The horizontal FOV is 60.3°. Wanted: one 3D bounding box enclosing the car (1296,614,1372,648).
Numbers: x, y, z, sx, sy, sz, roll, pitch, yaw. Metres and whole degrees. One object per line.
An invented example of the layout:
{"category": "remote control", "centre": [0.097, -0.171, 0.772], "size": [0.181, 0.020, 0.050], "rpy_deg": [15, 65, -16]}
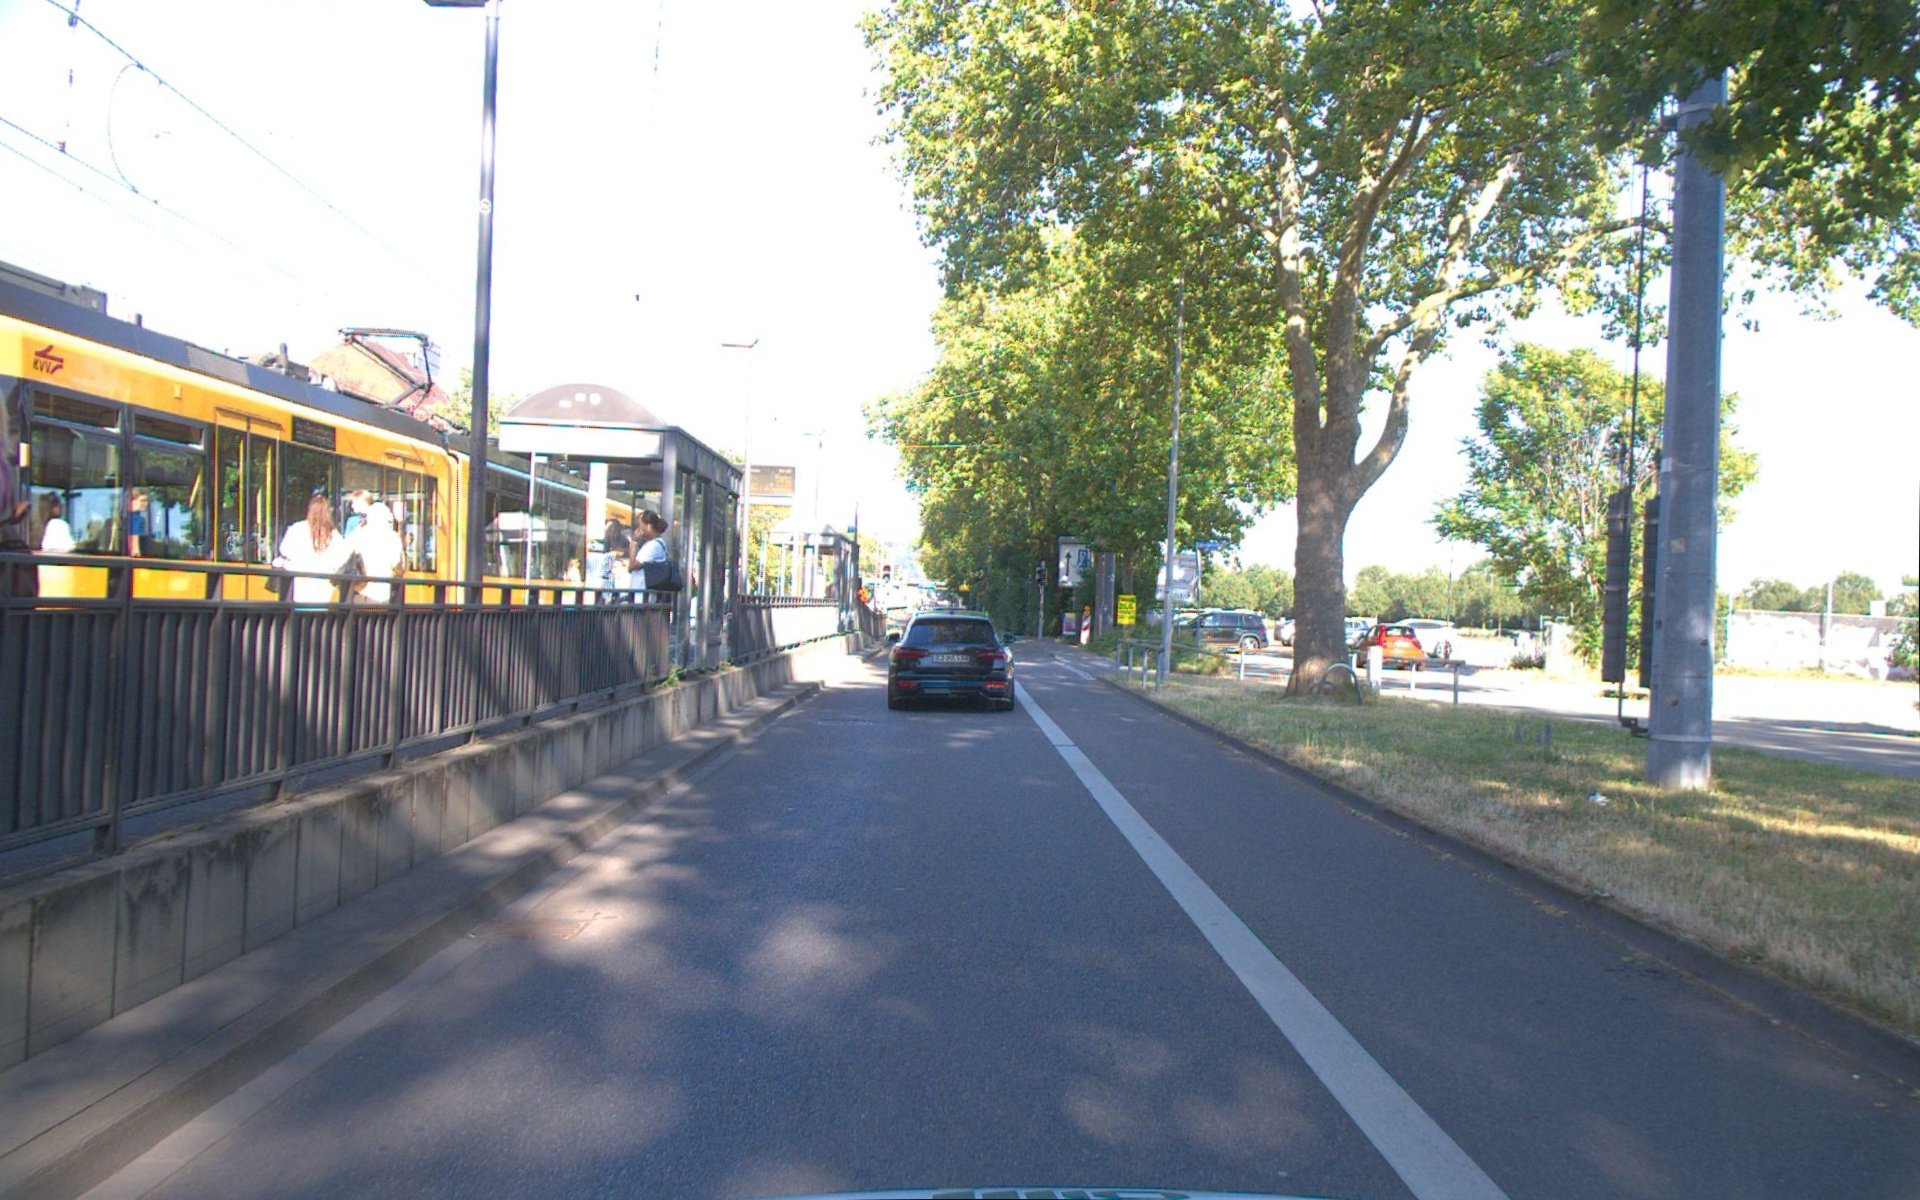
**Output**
{"category": "car", "centre": [20.381, 1.679, 90.209], "size": [3.735, 1.637, 1.670], "rpy_deg": [2, 0, -1]}

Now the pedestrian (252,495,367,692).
{"category": "pedestrian", "centre": [-6.222, -0.059, 15.847], "size": [0.777, 1.815, 0.625], "rpy_deg": [2, 0, -1]}

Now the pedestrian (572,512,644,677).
{"category": "pedestrian", "centre": [-3.987, -0.057, 18.773], "size": [0.597, 1.815, 0.681], "rpy_deg": [2, 0, -1]}

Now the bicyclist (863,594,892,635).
{"category": "bicyclist", "centre": [-3.599, 0.645, 72.009], "size": [0.758, 1.746, 0.903], "rpy_deg": [2, -1, 44]}

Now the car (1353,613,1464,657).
{"category": "car", "centre": [19.857, 1.536, 73.358], "size": [4.365, 1.687, 1.918], "rpy_deg": [2, 0, 3]}

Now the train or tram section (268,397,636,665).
{"category": "train or tram section", "centre": [-8.819, -1.031, 30.873], "size": [3.242, 3.896, 11.840], "rpy_deg": [2, 0, -1]}

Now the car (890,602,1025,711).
{"category": "car", "centre": [-0.109, 0.791, 24.779], "size": [1.841, 1.482, 3.354], "rpy_deg": [1, 0, -3]}

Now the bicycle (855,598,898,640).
{"category": "bicycle", "centre": [-3.634, 0.849, 72.009], "size": [0.581, 1.746, 1.959], "rpy_deg": [2, -1, 44]}

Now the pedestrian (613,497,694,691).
{"category": "pedestrian", "centre": [-2.953, -0.058, 15.992], "size": [0.599, 1.815, 0.613], "rpy_deg": [2, 0, -1]}

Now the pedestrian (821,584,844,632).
{"category": "pedestrian", "centre": [-3.633, 0.226, 47.085], "size": [0.555, 1.315, 0.500], "rpy_deg": [3, 0, -1]}

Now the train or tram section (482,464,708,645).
{"category": "train or tram section", "centre": [-9.034, -1.005, 42.781], "size": [3.242, 3.896, 11.840], "rpy_deg": [2, 0, -1]}

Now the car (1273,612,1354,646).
{"category": "car", "centre": [21.043, 1.731, 98.555], "size": [4.267, 1.847, 1.998], "rpy_deg": [2, 0, -5]}

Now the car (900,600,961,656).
{"category": "car", "centre": [-0.962, 0.851, 52.201], "size": [1.727, 1.647, 3.998], "rpy_deg": [2, 0, -3]}

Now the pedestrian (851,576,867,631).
{"category": "pedestrian", "centre": [-3.263, 0.102, 53.256], "size": [0.403, 1.746, 0.665], "rpy_deg": [2, 0, -1]}

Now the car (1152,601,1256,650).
{"category": "car", "centre": [9.881, 1.044, 67.198], "size": [3.905, 1.795, 1.833], "rpy_deg": [2, -1, 0]}

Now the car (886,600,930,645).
{"category": "car", "centre": [-2.457, 1.044, 79.384], "size": [1.953, 2.049, 3.999], "rpy_deg": [2, 0, -1]}

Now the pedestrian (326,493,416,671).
{"category": "pedestrian", "centre": [-6.211, -0.188, 17.457], "size": [0.599, 1.815, 0.775], "rpy_deg": [2, 0, -1]}

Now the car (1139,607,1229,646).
{"category": "car", "centre": [9.473, 1.119, 70.050], "size": [3.521, 1.488, 1.678], "rpy_deg": [2, 0, 0]}

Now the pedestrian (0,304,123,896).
{"category": "pedestrian", "centre": [-2.906, -0.007, 4.924], "size": [0.602, 1.671, 0.610], "rpy_deg": [3, -1, -20]}

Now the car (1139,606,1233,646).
{"category": "car", "centre": [9.876, 1.128, 72.377], "size": [3.806, 1.531, 1.888], "rpy_deg": [2, 0, 0]}

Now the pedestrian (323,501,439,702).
{"category": "pedestrian", "centre": [-5.410, 0.017, 15.458], "size": [0.788, 1.815, 0.639], "rpy_deg": [3, -1, -41]}

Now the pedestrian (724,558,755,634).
{"category": "pedestrian", "centre": [-5.185, -0.090, 38.947], "size": [0.599, 1.743, 0.659], "rpy_deg": [3, 0, -3]}

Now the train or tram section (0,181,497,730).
{"category": "train or tram section", "centre": [-8.576, -1.068, 17.867], "size": [3.242, 3.896, 14.215], "rpy_deg": [2, 0, -1]}

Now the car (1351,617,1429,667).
{"category": "car", "centre": [14.555, 1.406, 56.162], "size": [1.581, 1.542, 3.802], "rpy_deg": [2, 0, -1]}
